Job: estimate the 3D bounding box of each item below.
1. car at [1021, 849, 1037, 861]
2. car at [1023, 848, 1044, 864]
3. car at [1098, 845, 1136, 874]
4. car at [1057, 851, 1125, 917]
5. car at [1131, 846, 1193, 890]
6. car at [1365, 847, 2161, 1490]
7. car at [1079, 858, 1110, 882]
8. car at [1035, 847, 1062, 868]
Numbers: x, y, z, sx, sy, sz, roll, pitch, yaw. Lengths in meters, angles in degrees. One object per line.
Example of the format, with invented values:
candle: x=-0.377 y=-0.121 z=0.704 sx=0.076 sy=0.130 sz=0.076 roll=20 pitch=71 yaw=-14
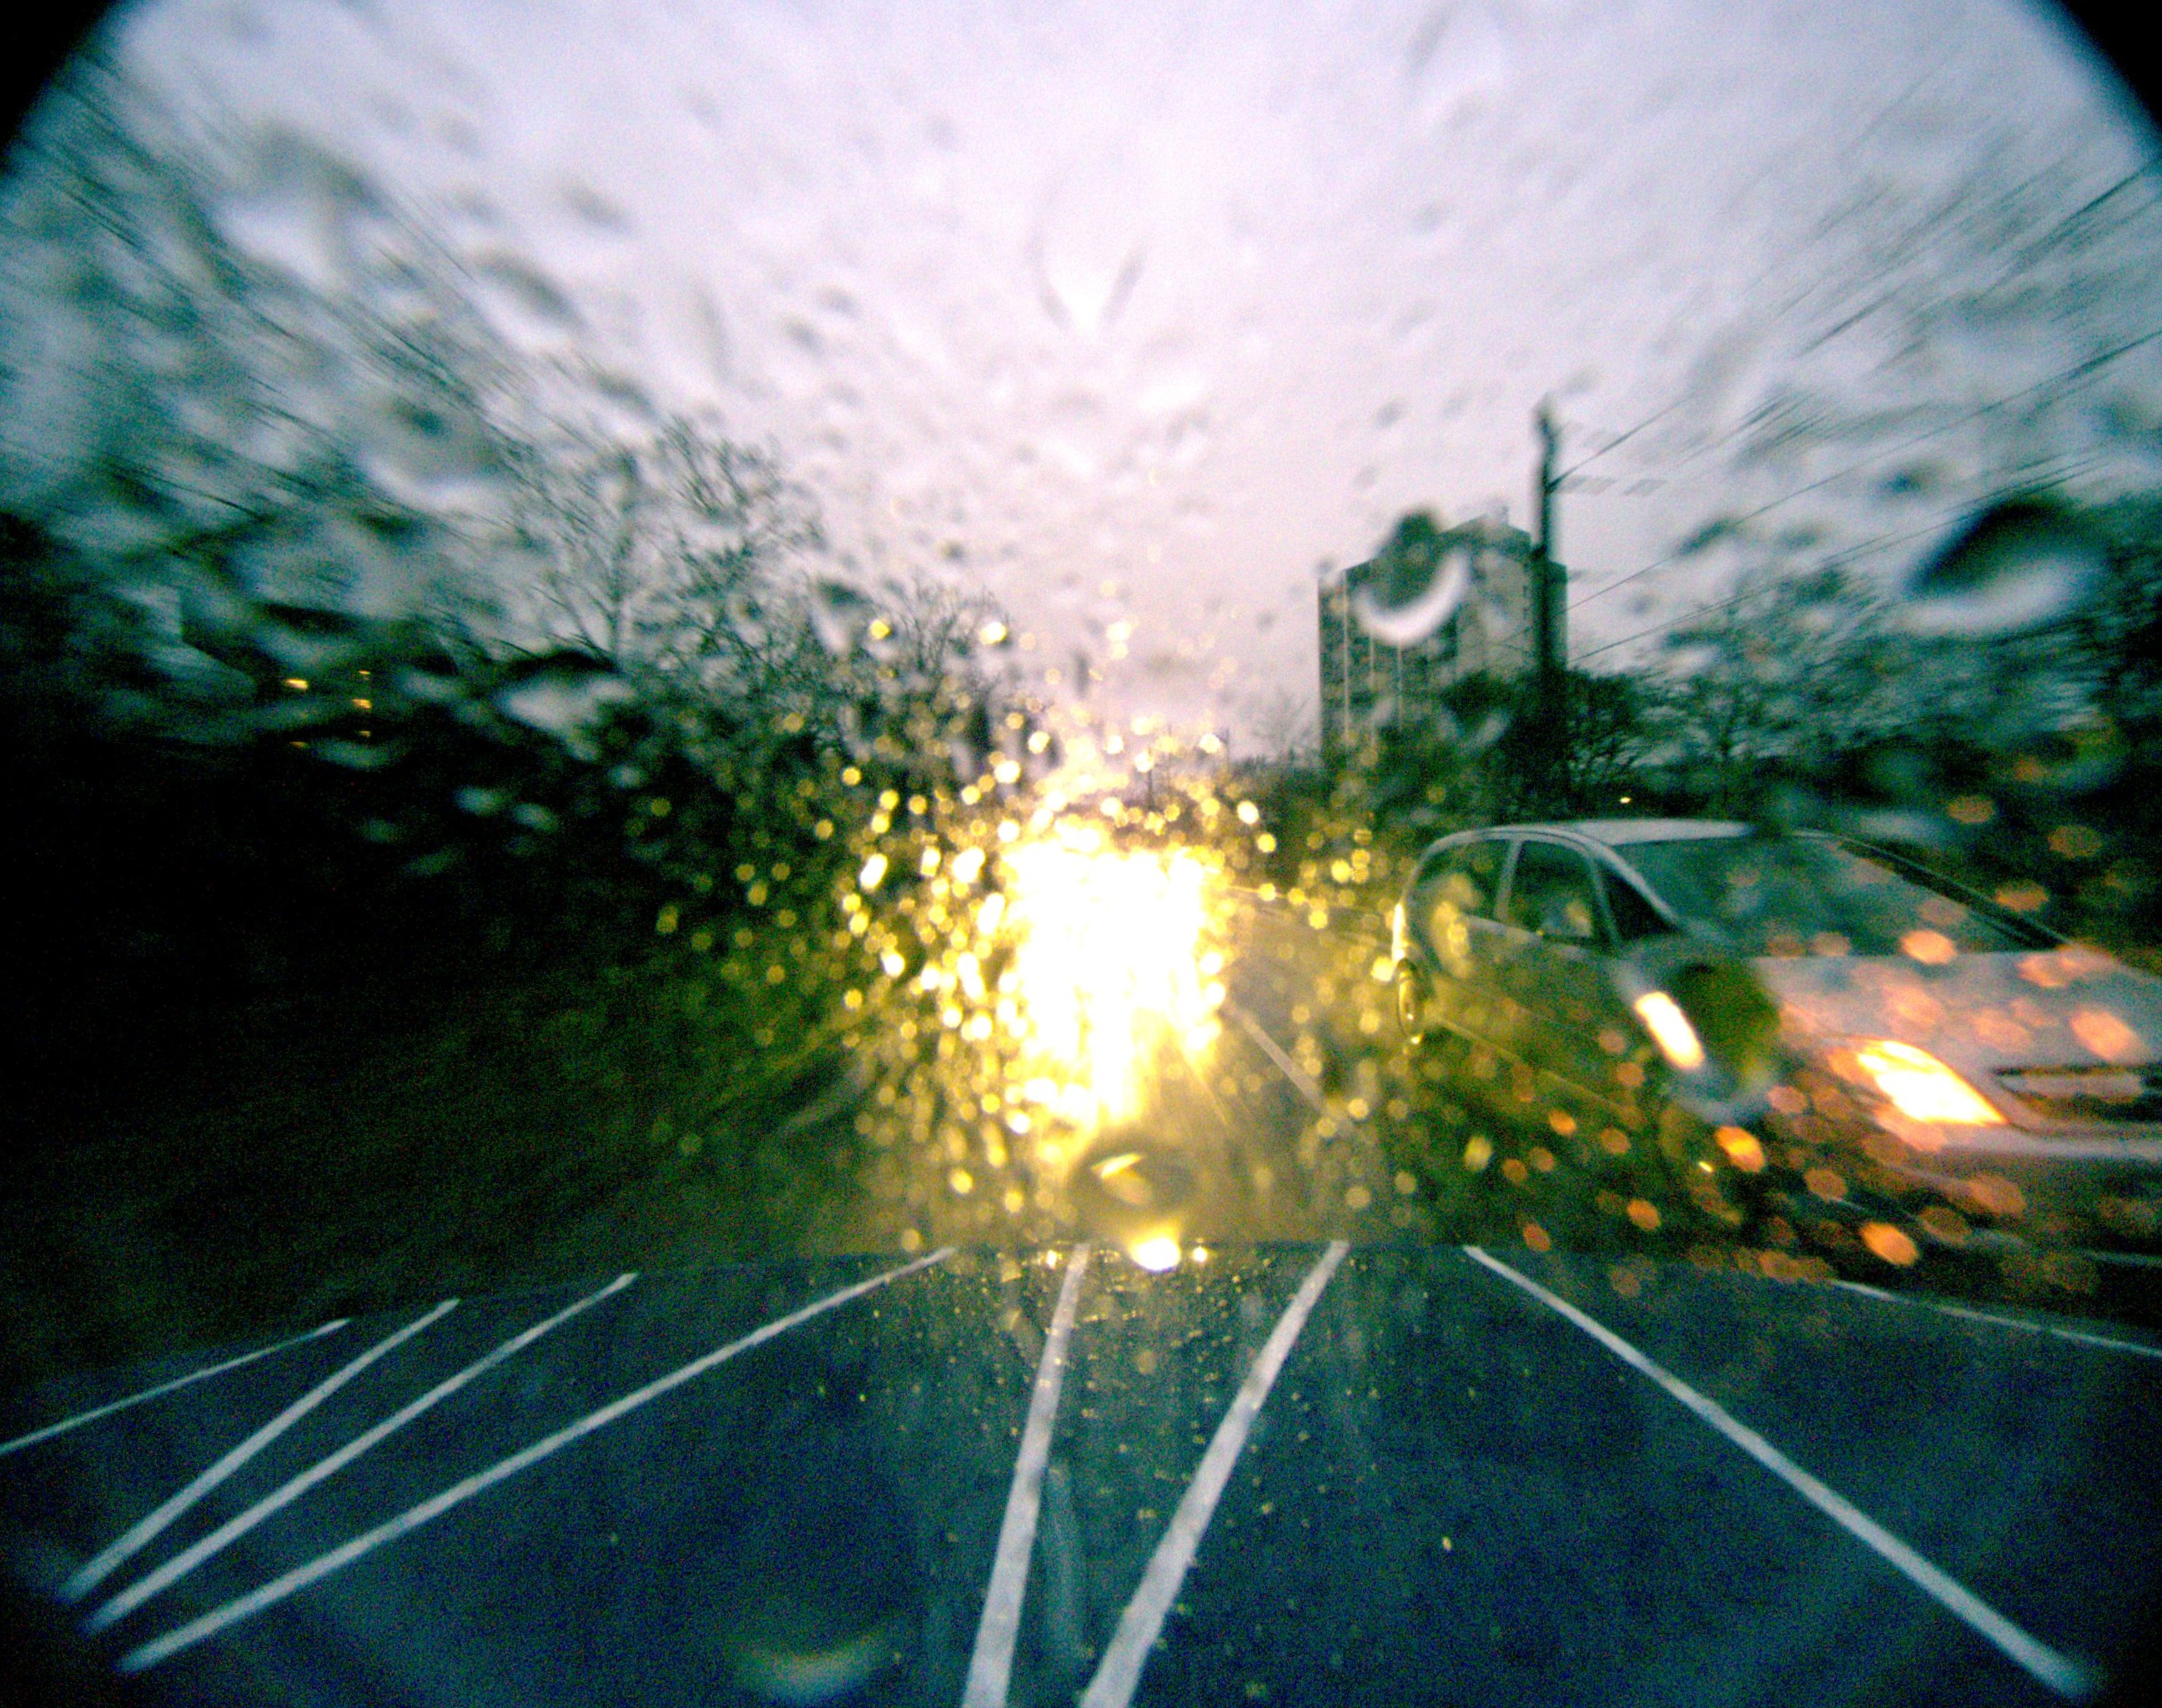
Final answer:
car: x=-6.922 y=0.145 z=101.107 sx=1.953 sy=1.590 sz=4.123 roll=-1 pitch=1 yaw=-2
car: x=-4.757 y=0.173 z=76.142 sx=1.953 sy=1.590 sz=4.123 roll=-1 pitch=1 yaw=-2
car: x=2.061 y=0.284 z=44.983 sx=1.953 sy=1.590 sz=4.123 roll=-1 pitch=1 yaw=-1
car: x=0.271 y=0.732 z=20.987 sx=1.679 sy=1.590 sz=4.044 roll=-1 pitch=1 yaw=1
car: x=3.158 y=0.488 z=30.332 sx=1.953 sy=1.590 sz=4.123 roll=-1 pitch=1 yaw=-1
car: x=3.116 y=0.767 z=3.967 sx=1.694 sy=1.530 sz=4.190 roll=-2 pitch=1 yaw=1
car: x=1.027 y=1.225 z=60.271 sx=1.999 sy=1.652 sz=3.997 roll=-3 pitch=1 yaw=-6
car: x=-2.568 y=0.278 z=60.921 sx=1.953 sy=1.590 sz=4.123 roll=-1 pitch=1 yaw=-1
